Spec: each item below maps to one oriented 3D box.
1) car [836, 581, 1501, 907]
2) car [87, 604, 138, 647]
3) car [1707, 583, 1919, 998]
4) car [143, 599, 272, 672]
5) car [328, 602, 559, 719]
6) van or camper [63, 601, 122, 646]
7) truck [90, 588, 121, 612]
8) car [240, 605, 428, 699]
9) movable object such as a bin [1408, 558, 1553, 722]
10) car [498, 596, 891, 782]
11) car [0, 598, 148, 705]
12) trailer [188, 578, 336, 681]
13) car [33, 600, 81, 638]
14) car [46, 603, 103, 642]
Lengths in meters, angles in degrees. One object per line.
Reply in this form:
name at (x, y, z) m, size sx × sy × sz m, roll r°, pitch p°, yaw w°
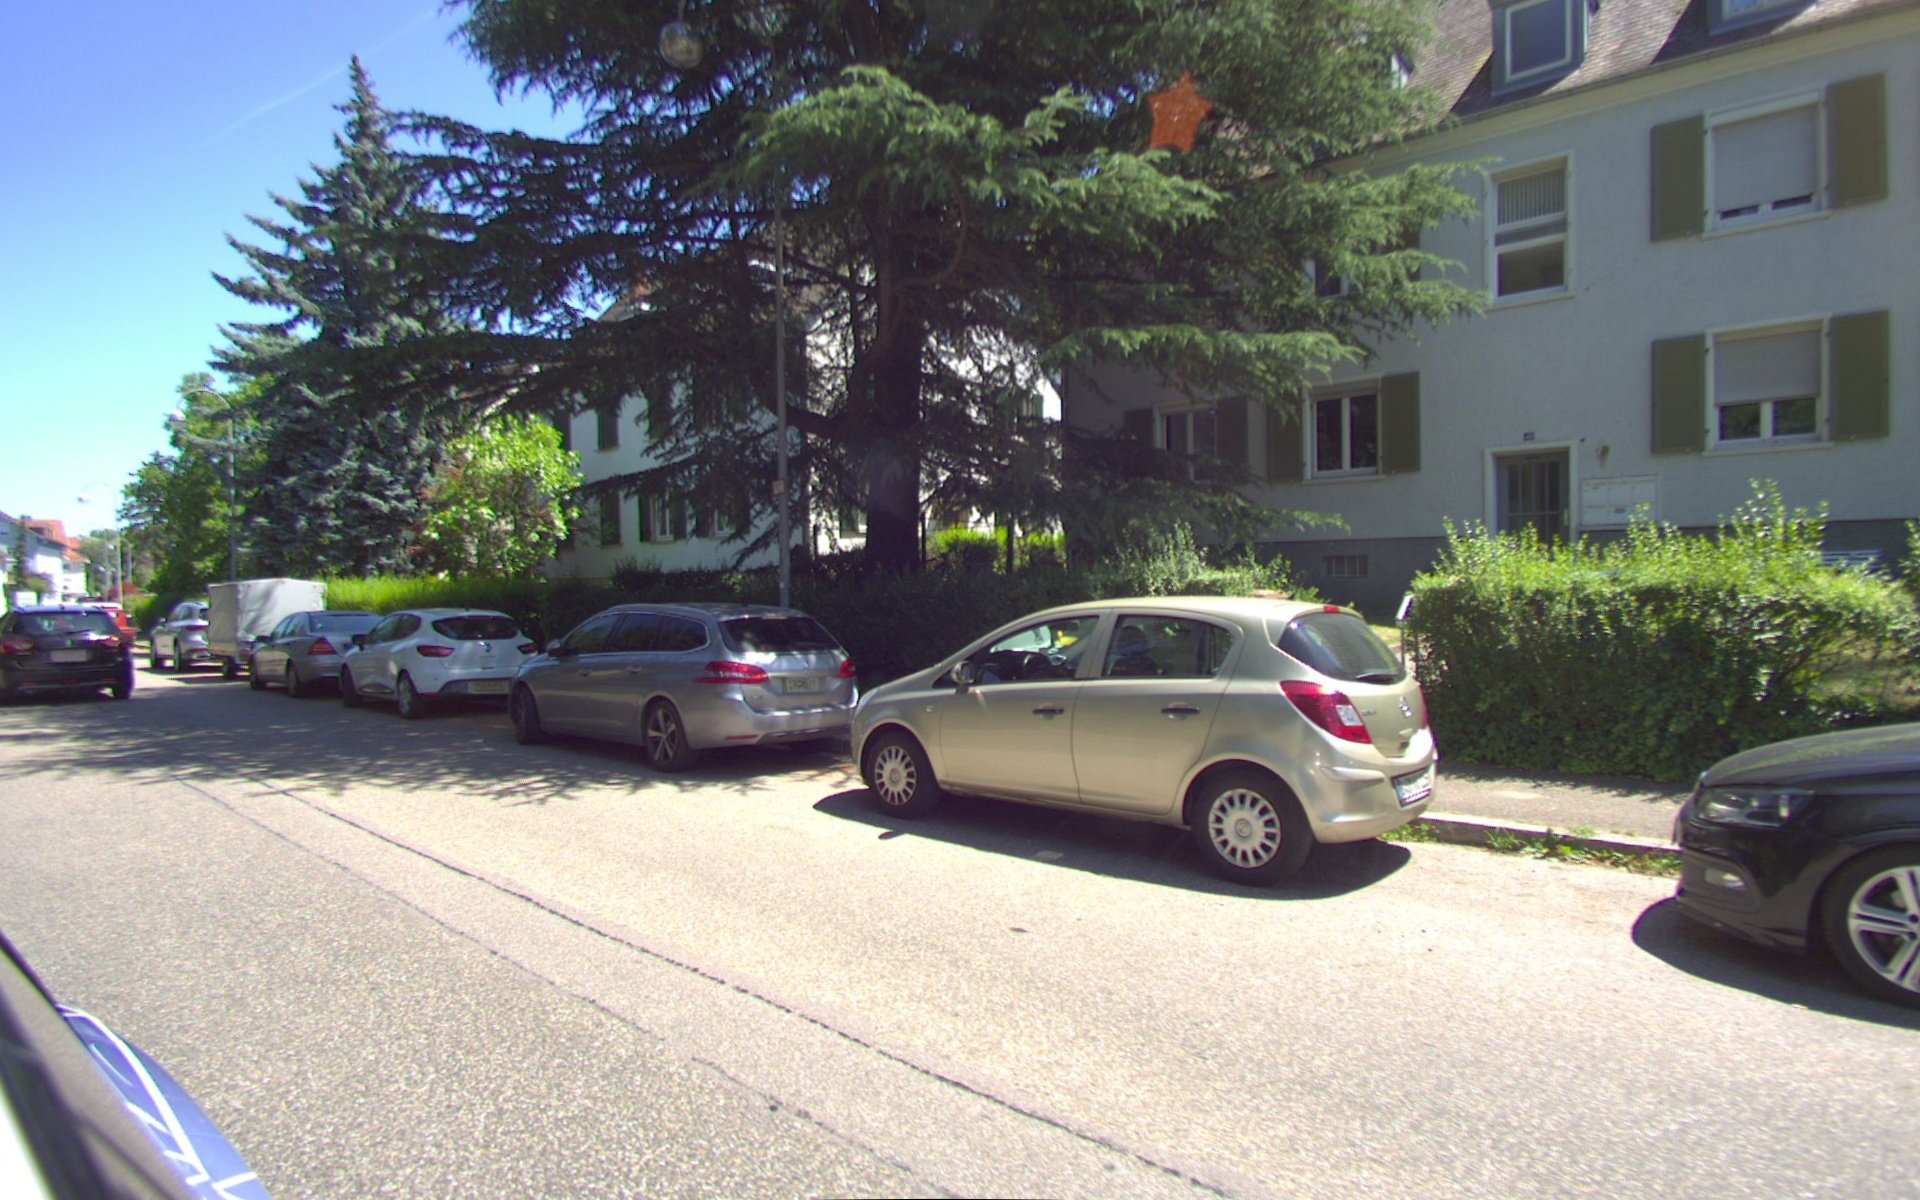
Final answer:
car at (1.135, 0.654, 6.438) m, size 3.783 × 1.453 × 1.778 m, roll 0°, pitch -1°, yaw 41°
car at (-32.147, 0.946, 38.367) m, size 2.322 × 1.589 × 1.290 m, roll -1°, pitch 0°, yaw 45°
car at (4.783, 0.644, 3.164) m, size 3.790 × 1.412 × 1.663 m, roll 0°, pitch -1°, yaw 43°
car at (-18.475, 0.821, 24.766) m, size 4.549 × 1.631 × 1.749 m, roll 0°, pitch -1°, yaw 43°
car at (-7.506, 0.764, 14.552) m, size 3.897 × 1.453 × 1.776 m, roll 0°, pitch -1°, yaw 44°
van or camper at (-35.774, 0.931, 41.718) m, size 3.890 × 1.784 × 1.561 m, roll -1°, pitch 0°, yaw 45°
truck at (-107.445, 0.064, 127.309) m, size 2.192 × 2.954 × 6.741 m, roll 1°, pitch -1°, yaw -34°
car at (-11.150, 0.826, 17.898) m, size 4.477 × 1.453 × 1.776 m, roll 0°, pitch -1°, yaw 44°
movable object such as a bin at (4.219, 0.299, 8.274) m, size 0.968 × 1.209 × 1.286 m, roll -1°, pitch 0°, yaw 26°
car at (-2.782, 0.708, 10.013) m, size 4.272 × 1.453 × 1.777 m, roll 0°, pitch -1°, yaw 43°
car at (-15.383, 0.773, 17.084) m, size 4.138 × 1.586 × 1.880 m, roll 0°, pitch 0°, yaw 40°
trailer at (-15.210, 0.610, 21.991) m, size 4.000 × 2.049 × 1.794 m, roll -1°, pitch -1°, yaw 43°
car at (-51.987, 1.079, 58.225) m, size 1.867 × 2.131 × 4.002 m, roll 1°, pitch -1°, yaw -44°
car at (-42.622, 1.064, 48.698) m, size 1.867 × 1.772 × 3.615 m, roll 1°, pitch -1°, yaw -44°
